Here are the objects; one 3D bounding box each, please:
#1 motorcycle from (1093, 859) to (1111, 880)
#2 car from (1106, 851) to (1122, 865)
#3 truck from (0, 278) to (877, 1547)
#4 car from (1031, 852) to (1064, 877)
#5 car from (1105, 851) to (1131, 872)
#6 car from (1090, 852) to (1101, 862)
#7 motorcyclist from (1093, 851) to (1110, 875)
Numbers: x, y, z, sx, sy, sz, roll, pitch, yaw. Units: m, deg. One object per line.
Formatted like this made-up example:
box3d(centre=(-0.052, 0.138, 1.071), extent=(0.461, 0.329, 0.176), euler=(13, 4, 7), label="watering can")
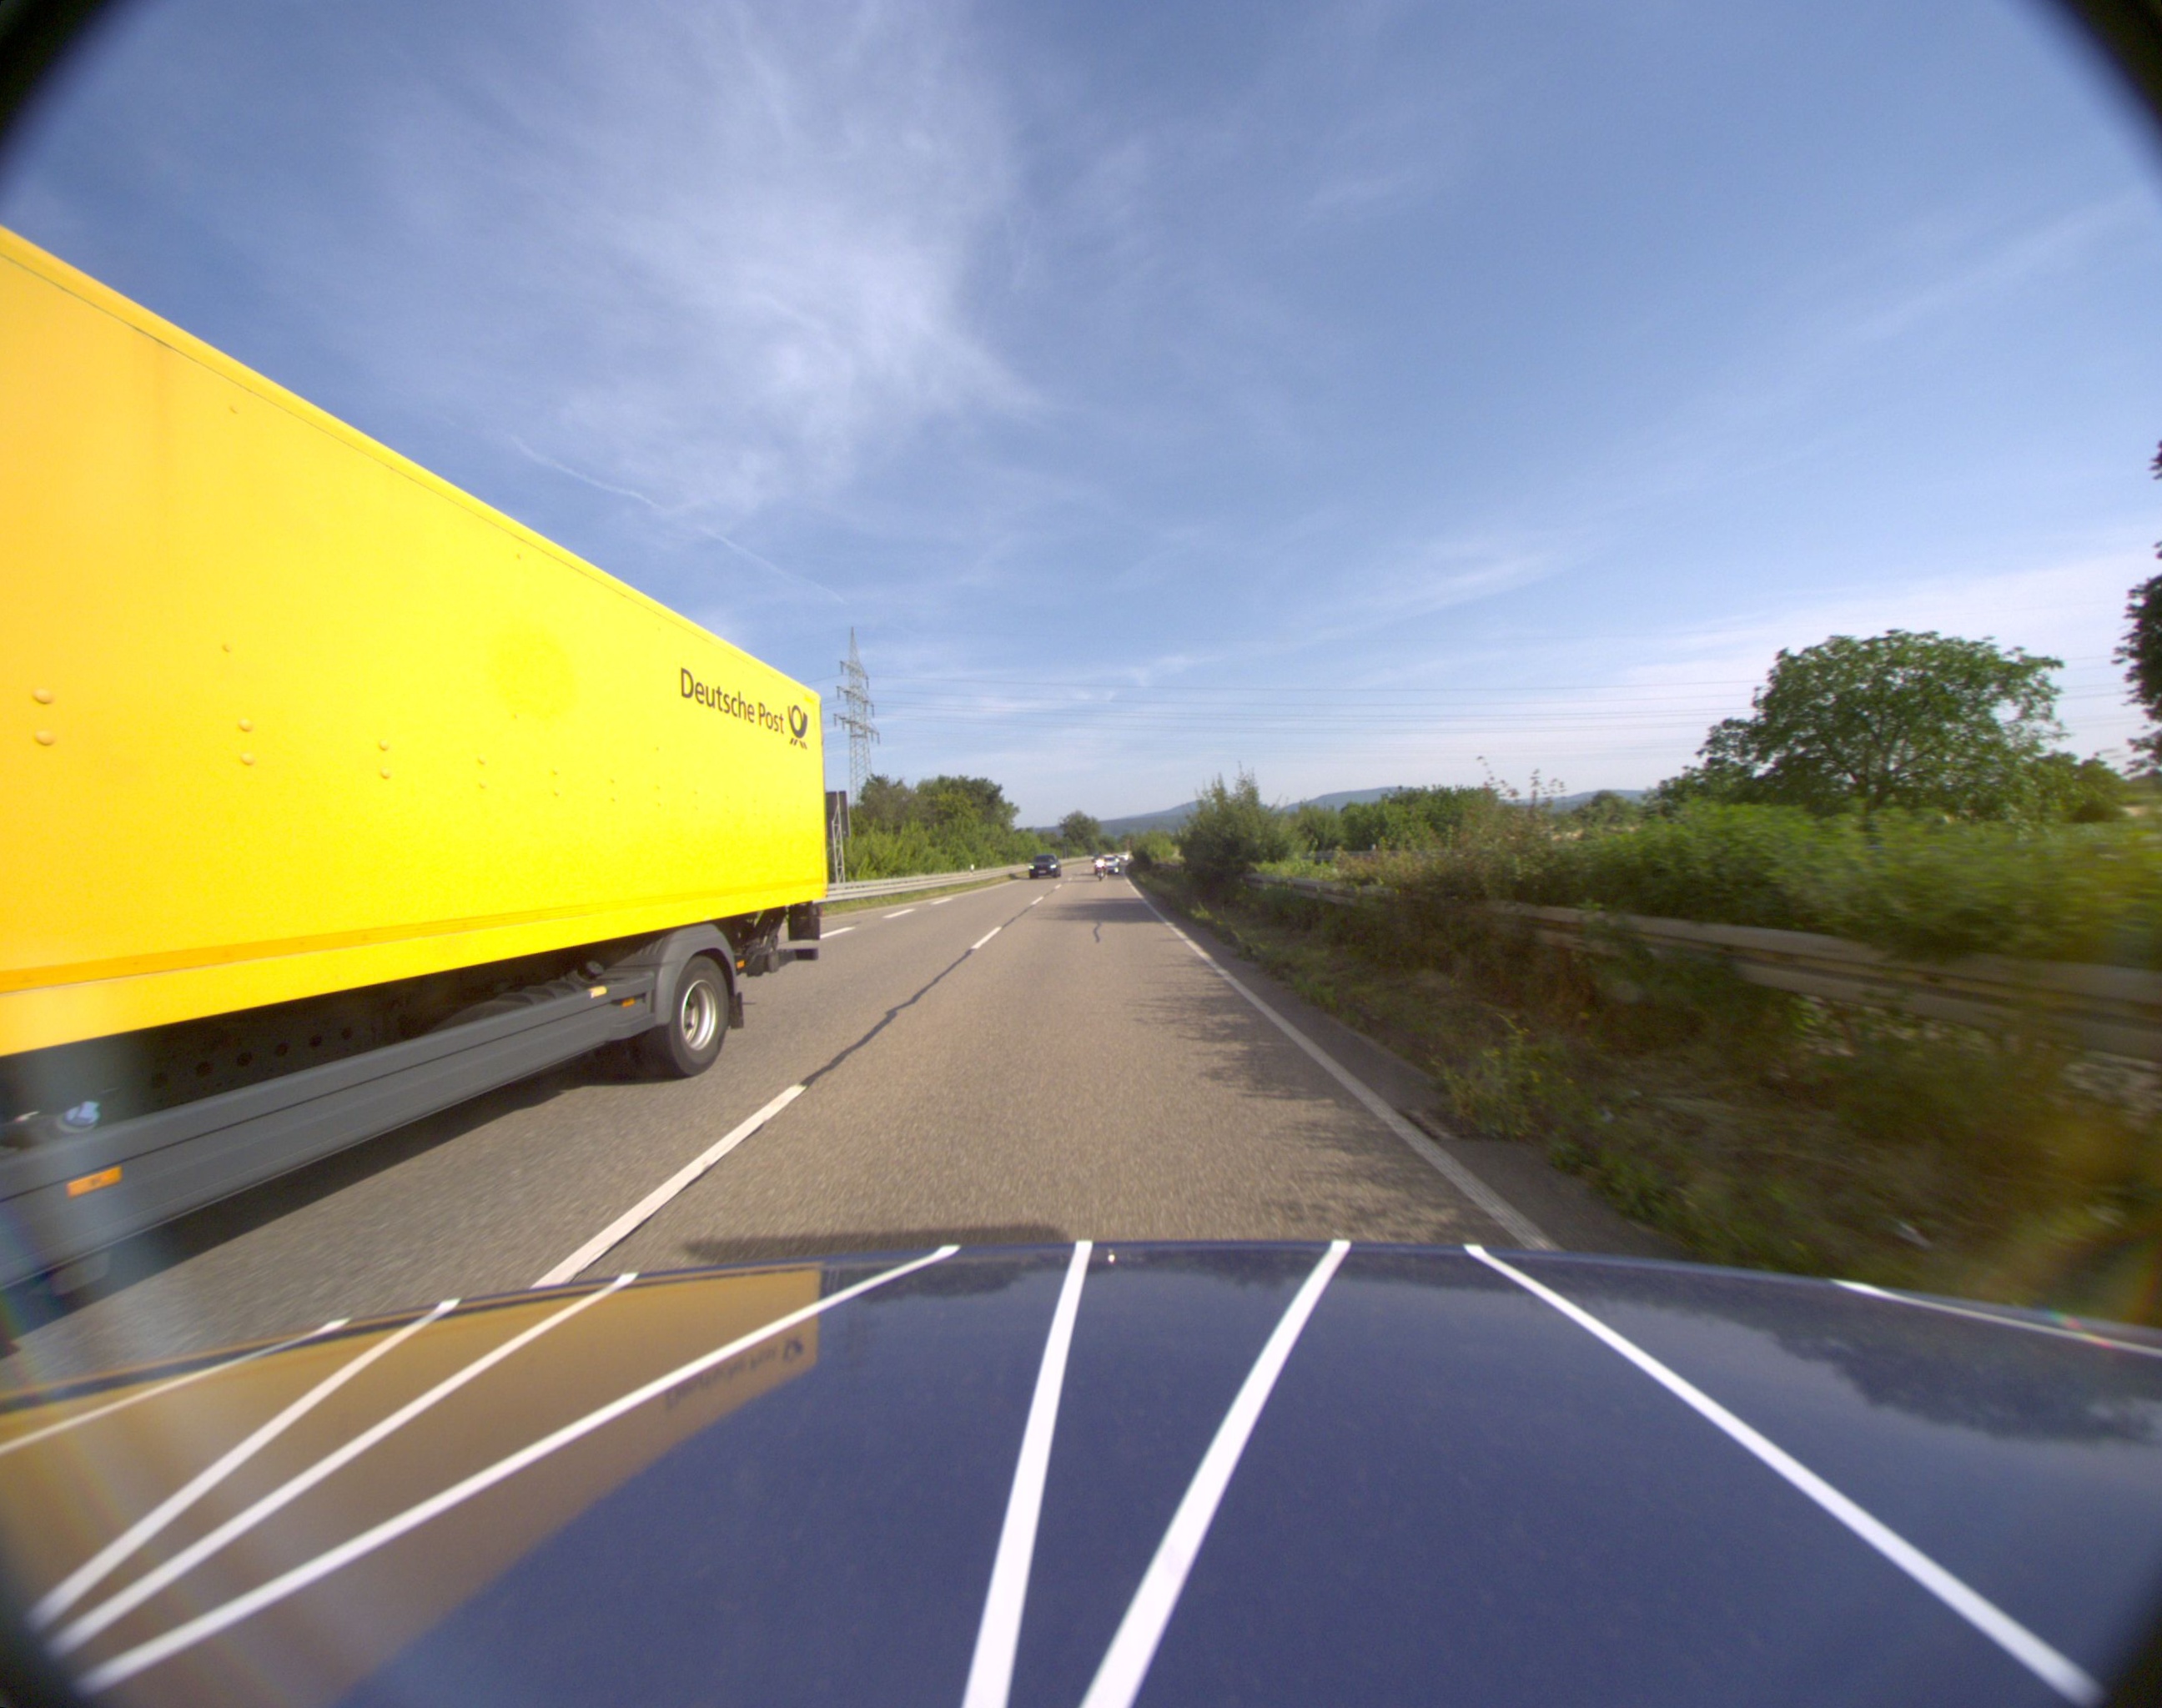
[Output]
box3d(centre=(1.256, 0.878, 45.164), extent=(0.937, 1.132, 2.582), euler=(-2, 1, 4), label="motorcycle")
box3d(centre=(3.862, 0.449, 87.778), extent=(1.676, 1.541, 3.827), euler=(-2, 1, 5), label="car")
box3d(centre=(-4.183, 0.159, 4.715), extent=(2.786, 3.297, 10.489), euler=(-2, 0, 0), label="truck")
box3d(centre=(-2.372, 0.711, 54.910), extent=(1.877, 1.630, 4.001), euler=(-2, 1, 4), label="car")
box3d(centre=(2.860, 0.562, 59.635), extent=(1.869, 1.454, 4.083), euler=(-2, 0, 1), label="car")
box3d(centre=(2.374, 0.440, 125.894), extent=(1.677, 1.541, 3.827), euler=(-2, 1, 3), label="car")
box3d(centre=(1.244, 0.522, 45.135), extent=(0.937, 1.344, 1.143), euler=(-2, 1, 3), label="motorcyclist")
